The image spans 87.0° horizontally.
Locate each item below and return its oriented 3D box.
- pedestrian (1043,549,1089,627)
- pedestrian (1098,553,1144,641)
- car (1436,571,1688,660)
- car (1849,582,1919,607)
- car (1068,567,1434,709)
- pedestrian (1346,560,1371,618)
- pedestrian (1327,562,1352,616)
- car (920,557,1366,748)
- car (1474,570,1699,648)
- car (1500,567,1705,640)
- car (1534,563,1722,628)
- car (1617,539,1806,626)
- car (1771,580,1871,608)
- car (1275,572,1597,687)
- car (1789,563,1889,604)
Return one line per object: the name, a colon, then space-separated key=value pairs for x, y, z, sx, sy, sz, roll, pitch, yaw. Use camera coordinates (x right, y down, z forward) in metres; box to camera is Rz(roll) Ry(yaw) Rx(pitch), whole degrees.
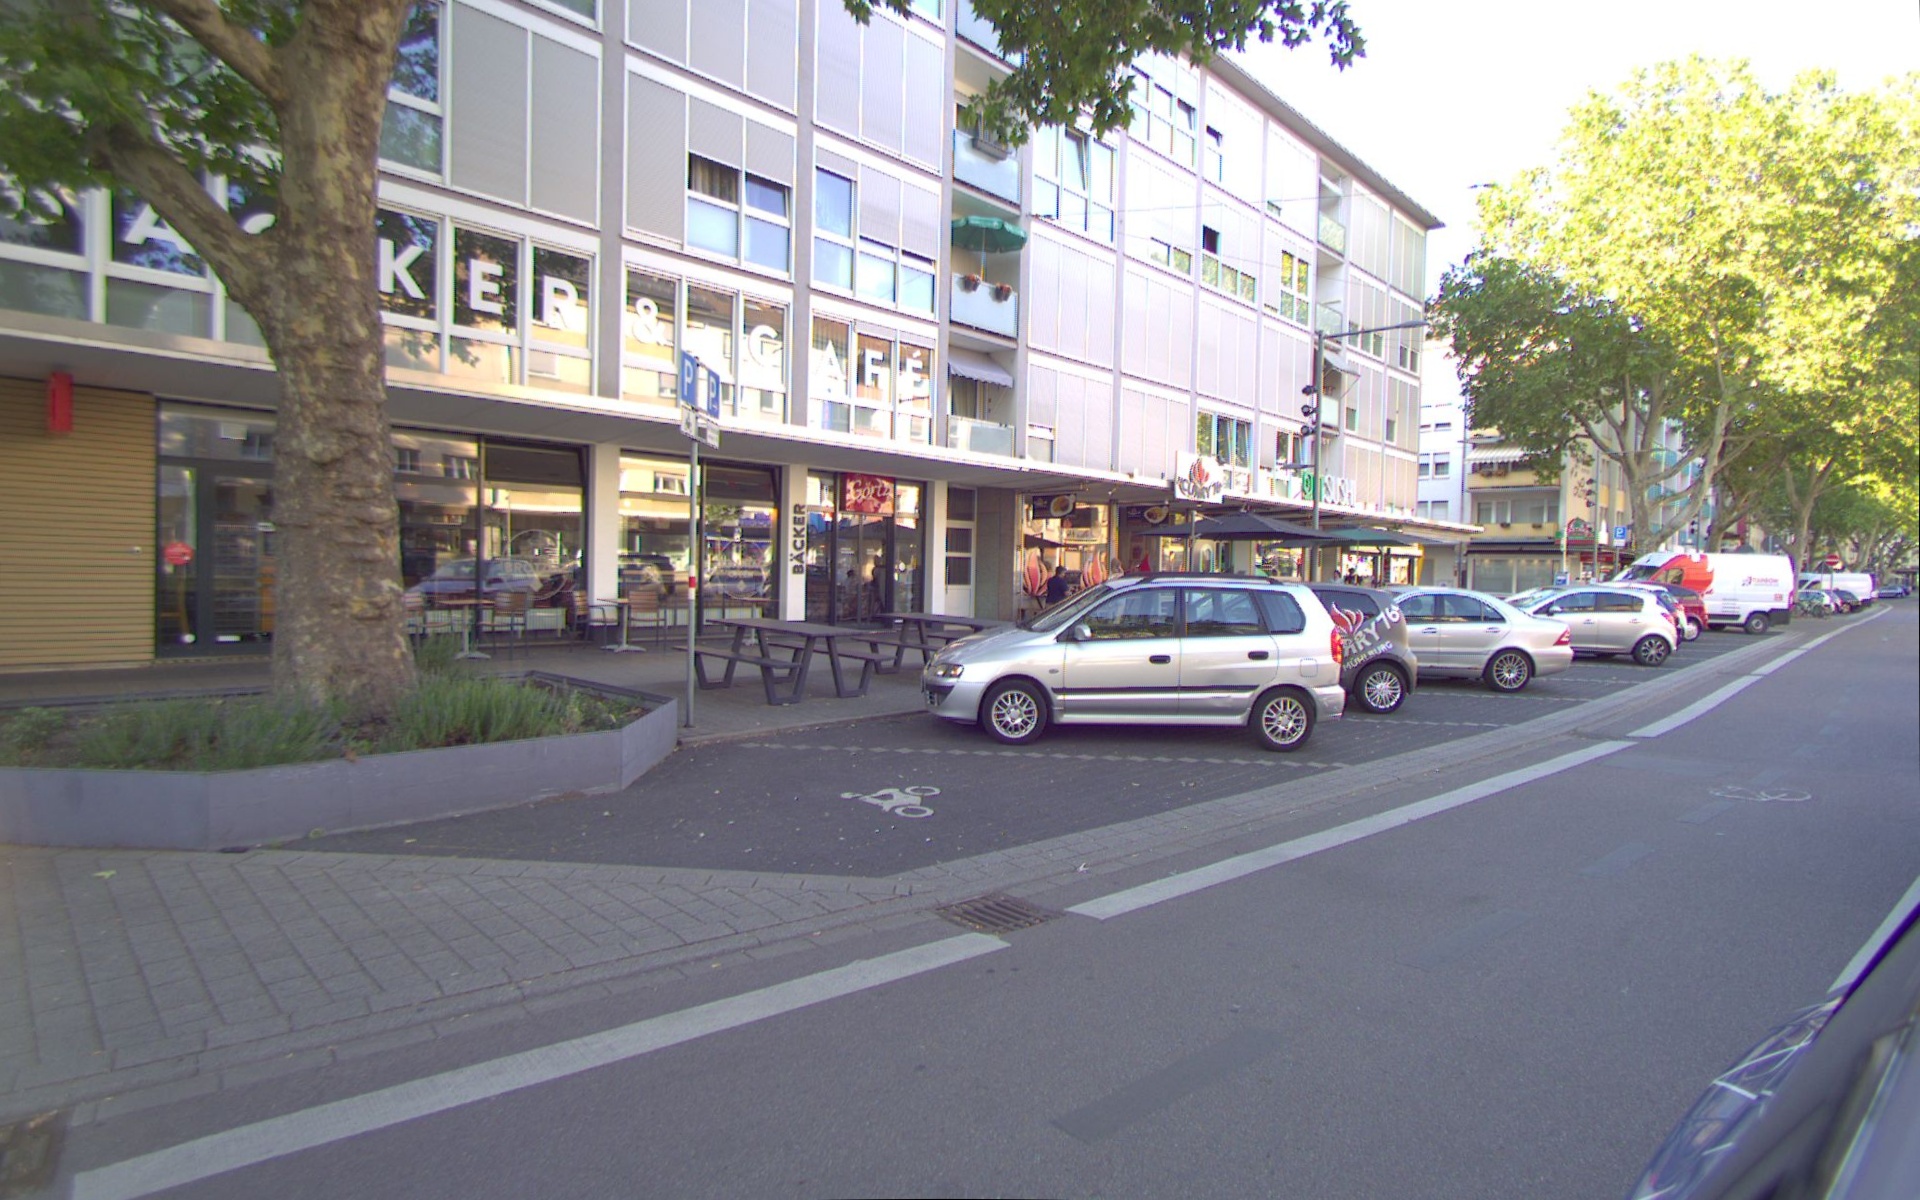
pedestrian: x=2.238 y=-0.266 z=21.383 sx=0.757 sy=1.602 sz=0.583 roll=0 pitch=2 yaw=-39
pedestrian: x=3.007 y=-0.067 z=18.882 sx=0.559 sy=1.596 sz=0.632 roll=2 pitch=2 yaw=44
car: x=11.682 y=0.256 z=19.842 sx=3.871 sy=1.446 sz=1.559 roll=3 pitch=3 yaw=4
car: x=56.377 y=-0.333 z=61.011 sx=3.864 sy=1.350 sz=1.782 roll=1 pitch=2 yaw=3
car: x=3.390 y=0.411 z=12.292 sx=3.864 sy=1.446 sz=1.679 roll=2 pitch=3 yaw=-3
pedestrian: x=12.108 y=-0.347 z=30.775 sx=0.544 sy=1.741 sz=0.450 roll=2 pitch=2 yaw=45
pedestrian: x=11.683 y=-0.341 z=31.154 sx=0.536 sy=1.660 sz=0.470 roll=2 pitch=2 yaw=45
car: x=1.605 y=0.444 z=9.831 sx=3.906 sy=1.560 sz=1.679 roll=2 pitch=3 yaw=-3
car: x=13.930 y=0.152 z=22.757 sx=3.886 sy=1.446 sz=1.670 roll=3 pitch=3 yaw=16
car: x=15.873 y=0.045 z=25.243 sx=3.888 sy=1.445 sz=1.669 roll=4 pitch=5 yaw=17
car: x=18.104 y=-0.159 z=27.636 sx=3.891 sy=1.445 sz=1.668 roll=4 pitch=5 yaw=19
car: x=23.700 y=-0.575 z=32.049 sx=4.514 sy=2.525 sz=1.675 roll=2 pitch=1 yaw=5
car: x=48.099 y=-0.347 z=56.590 sx=3.864 sy=1.422 sz=1.782 roll=1 pitch=2 yaw=3
car: x=6.841 y=0.390 z=14.831 sx=3.867 sy=1.418 sz=1.598 roll=2 pitch=3 yaw=1
car: x=56.537 y=-1.074 z=65.175 sx=4.512 sy=2.499 sz=1.977 roll=1 pitch=2 yaw=3
